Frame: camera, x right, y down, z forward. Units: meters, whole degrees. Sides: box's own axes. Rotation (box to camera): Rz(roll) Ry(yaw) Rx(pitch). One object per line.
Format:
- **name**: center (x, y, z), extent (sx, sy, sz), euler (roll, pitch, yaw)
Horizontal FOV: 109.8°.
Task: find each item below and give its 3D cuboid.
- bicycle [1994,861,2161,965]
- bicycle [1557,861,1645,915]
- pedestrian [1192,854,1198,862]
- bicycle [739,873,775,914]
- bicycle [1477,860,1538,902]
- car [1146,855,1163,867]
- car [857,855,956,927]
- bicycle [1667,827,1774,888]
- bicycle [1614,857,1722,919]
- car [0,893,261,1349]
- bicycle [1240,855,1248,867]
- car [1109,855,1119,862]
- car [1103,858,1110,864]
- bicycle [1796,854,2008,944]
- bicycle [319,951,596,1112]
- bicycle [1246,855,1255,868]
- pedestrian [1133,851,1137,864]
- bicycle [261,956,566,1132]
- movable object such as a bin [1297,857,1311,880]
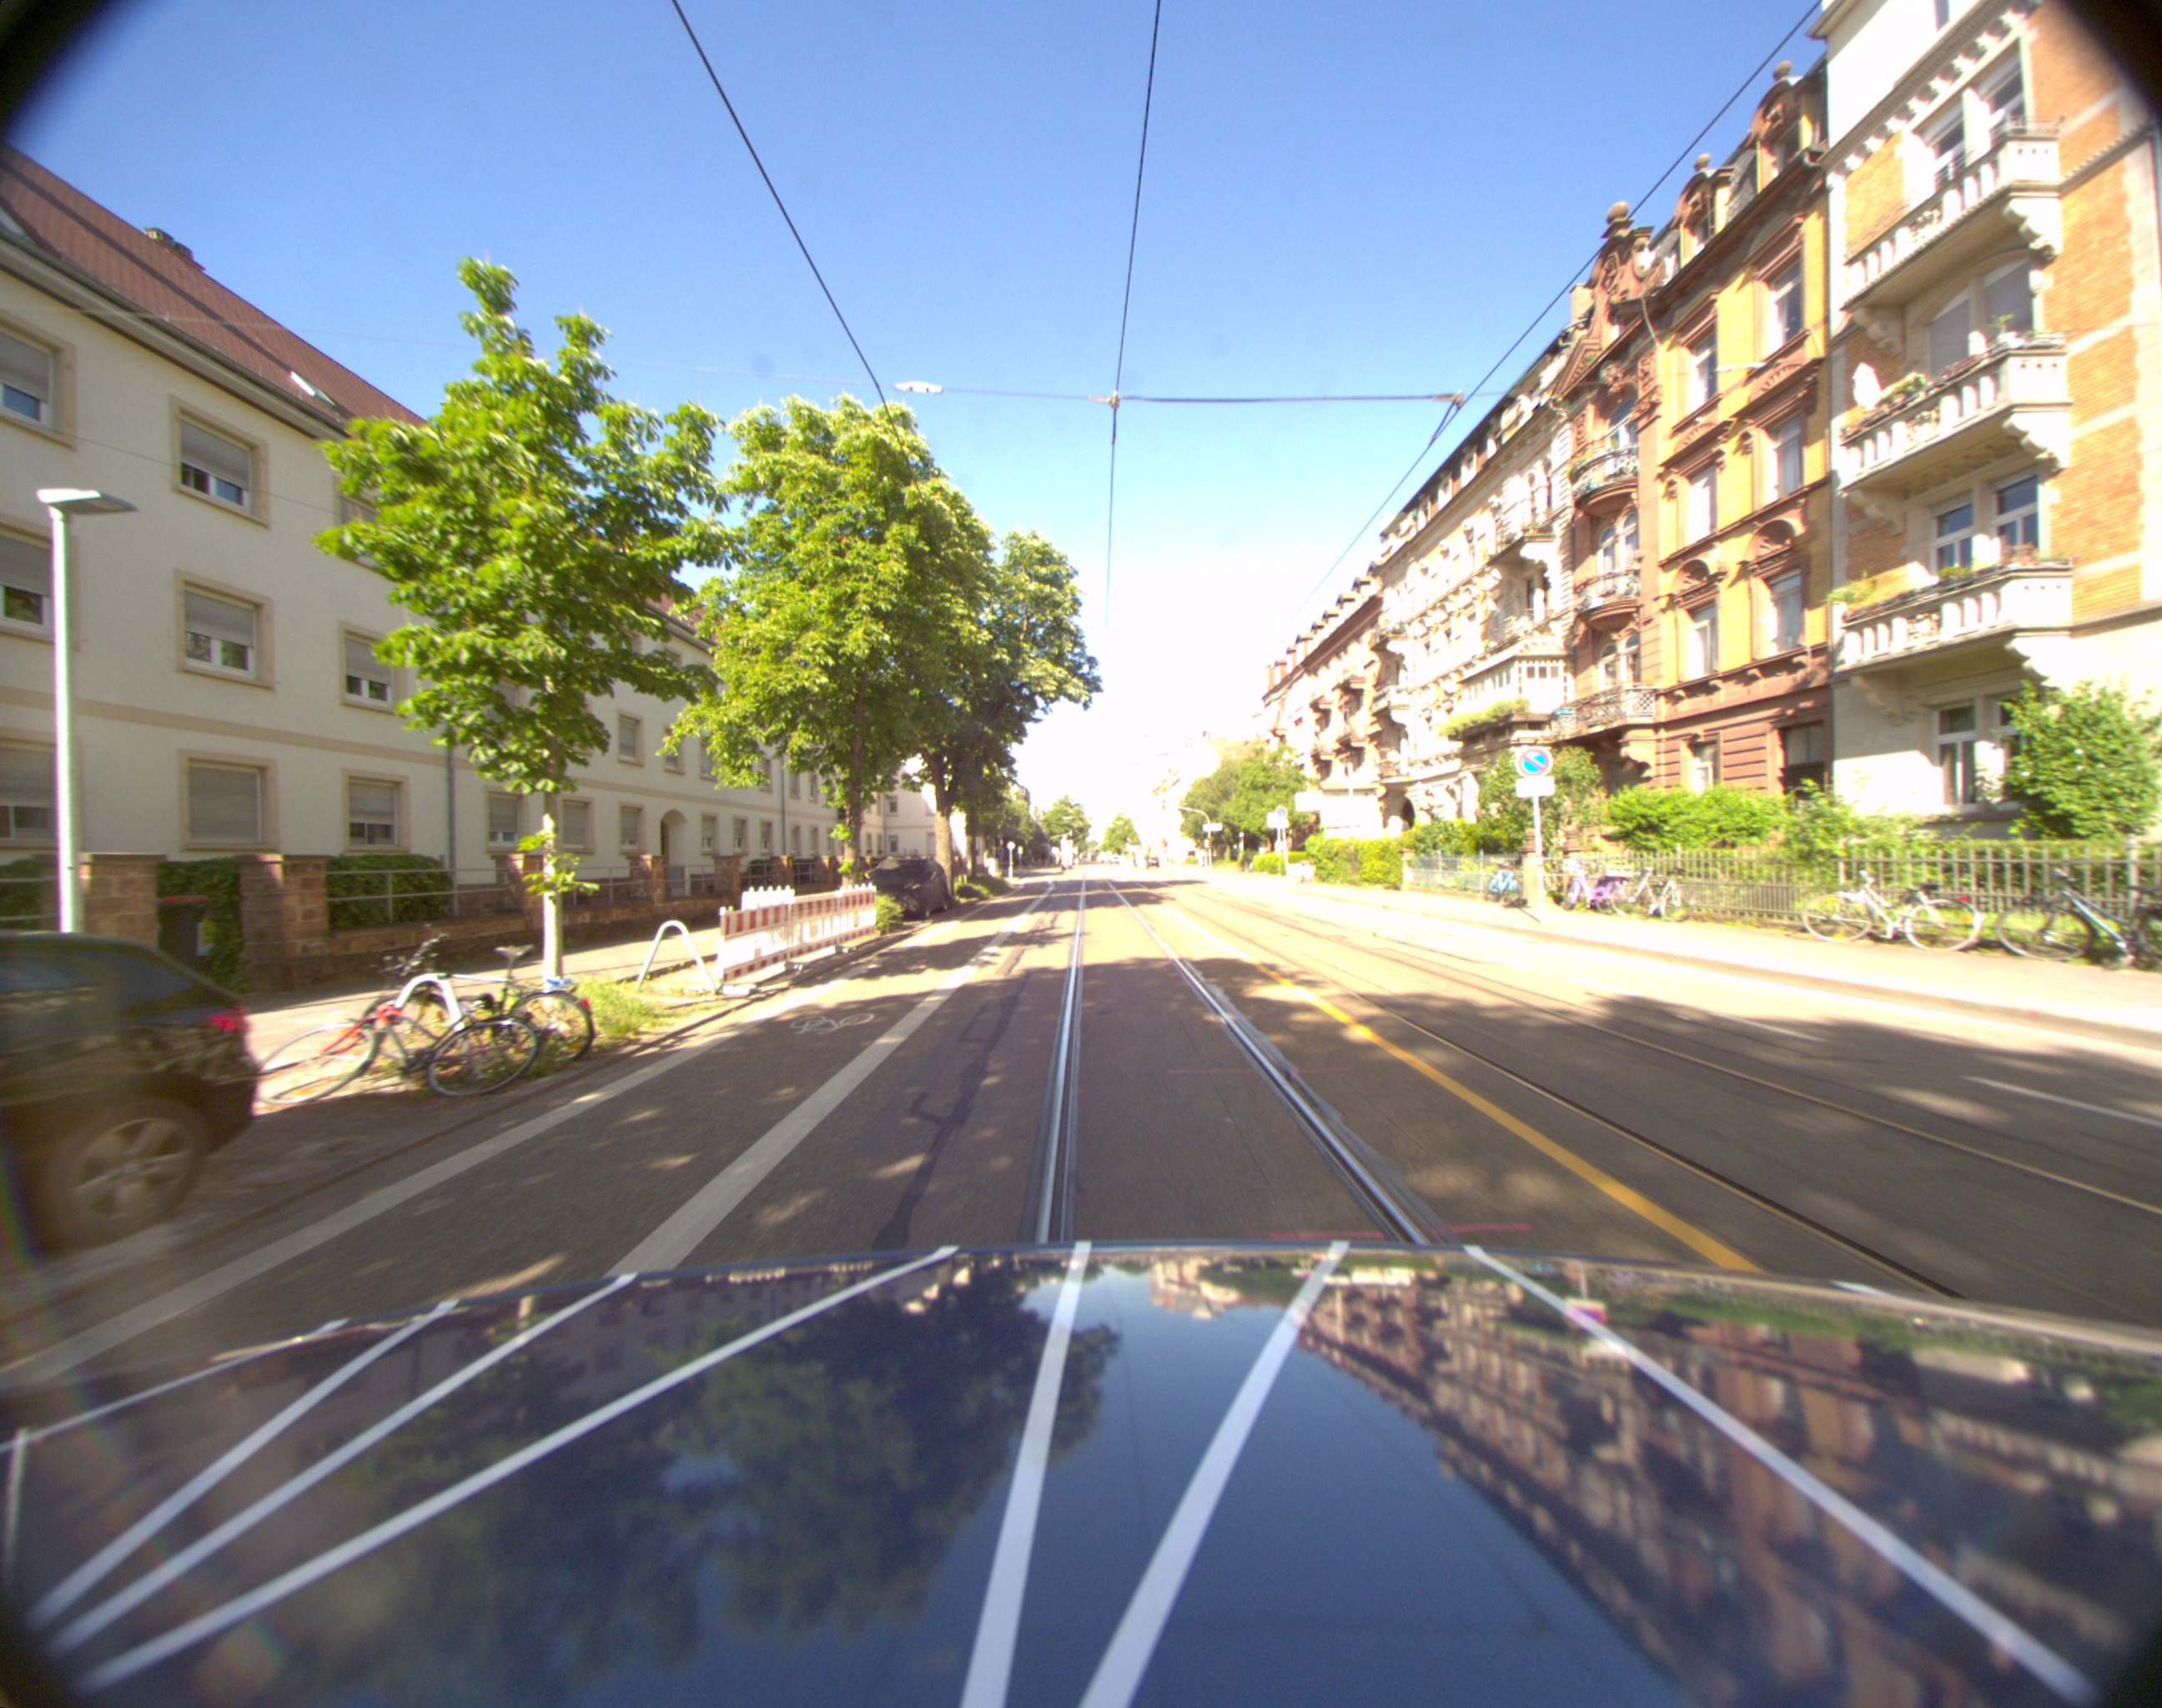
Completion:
- **bicycle**: center (11.064, 0.609, 8.010), extent (0.566, 1.027, 1.763), euler (-3, -1, -36)
- **bicycle**: center (10.789, 0.677, 15.830), extent (0.564, 1.027, 1.767), euler (-3, 0, 0)
- **pedestrian**: center (16.785, 0.584, 112.048), extent (0.659, 1.274, 0.724), euler (-3, 1, 1)
- **bicycle**: center (-10.453, 1.264, 24.580), extent (0.448, 1.231, 1.675), euler (-1, 0, -1)
- **bicycle**: center (10.997, 0.680, 19.651), extent (0.564, 1.027, 1.768), euler (-3, -1, 1)
- **car**: center (10.529, 0.946, 109.198), extent (1.836, 1.509, 4.967), euler (-4, 0, 1)
- **car**: center (-4.888, 0.966, 21.905), extent (1.748, 1.756, 4.477), euler (-3, 0, 0)
- **bicycle**: center (13.884, 0.075, 16.516), extent (1.766, 1.148, 0.565), euler (-5, 1, 0)
- **bicycle**: center (10.736, 0.585, 13.968), extent (0.564, 1.027, 1.767), euler (-3, 0, 0)
- **car**: center (-5.128, 1.116, 1.825), extent (1.670, 1.750, 4.230), euler (-2, 0, 0)
- **bicycle**: center (13.024, 0.568, 60.683), extent (0.342, 0.920, 1.943), euler (-3, 0, 5)
- **car**: center (7.202, 0.982, 164.525), extent (1.902, 1.608, 4.264), euler (0, 1, -1)
- **car**: center (6.878, 1.823, 202.455), extent (1.694, 1.531, 3.799), euler (-3, 0, 4)
- **bicycle**: center (10.805, 0.577, 10.085), extent (0.565, 1.027, 1.764), euler (-6, 1, -24)
- **bicycle**: center (-4.830, 1.362, 5.929), extent (1.766, 1.071, 0.433), euler (-3, 1, 2)
- **bicycle**: center (12.649, 0.572, 56.659), extent (0.342, 0.920, 1.943), euler (-3, 0, 5)
- **pedestrian**: center (7.543, 0.512, 106.108), extent (0.466, 1.774, 0.673), euler (-2, 1, 0)
- **bicycle**: center (-4.753, 1.341, 5.457), extent (1.766, 1.071, 0.433), euler (-3, 1, 2)
- **movable object such as a bin**: center (10.937, 0.696, 37.300), extent (0.480, 1.079, 0.541), euler (-3, 1, 2)
